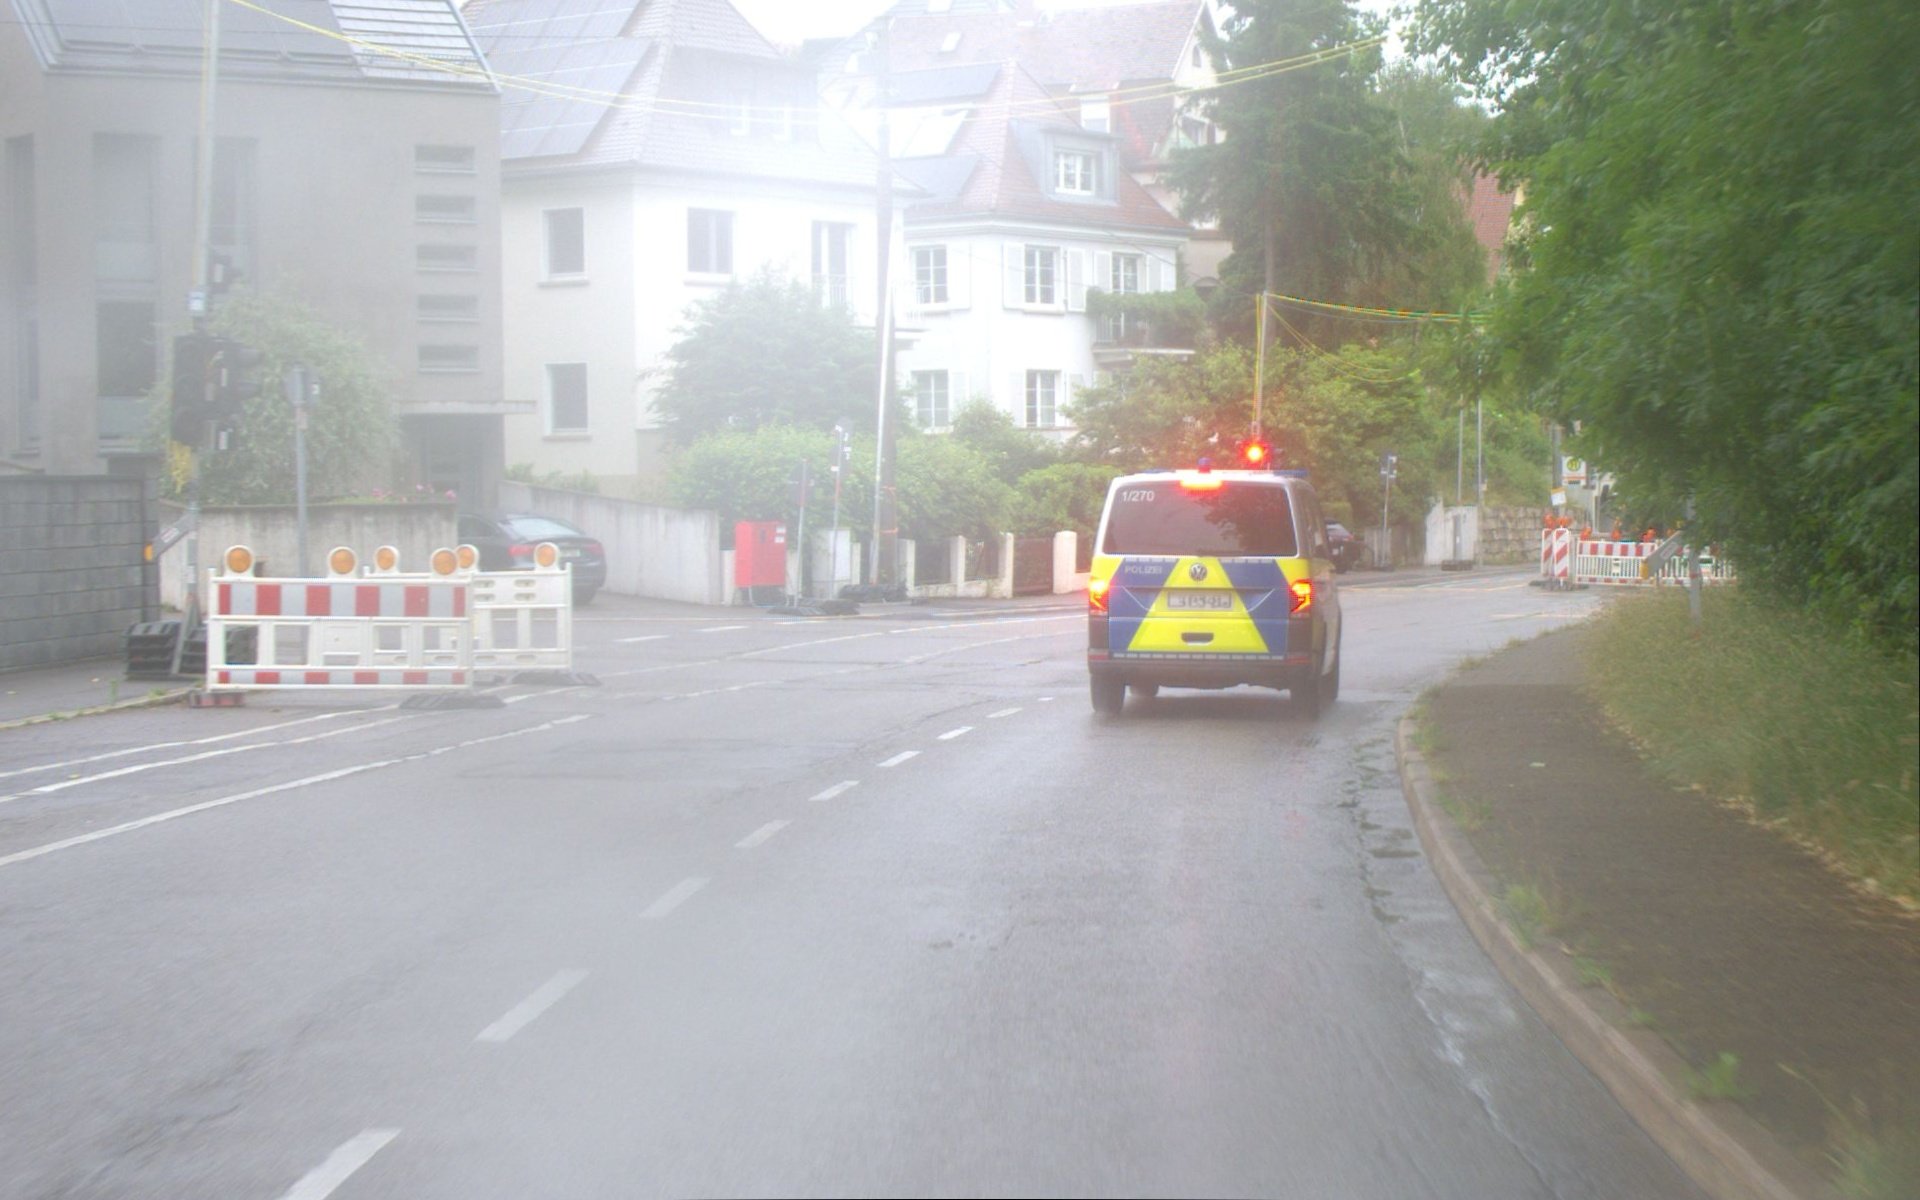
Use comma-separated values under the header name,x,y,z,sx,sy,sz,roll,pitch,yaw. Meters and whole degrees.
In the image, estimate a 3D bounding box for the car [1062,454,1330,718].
name,x,y,z,sx,sy,sz,roll,pitch,yaw
car,2.053,-0.164,28.726,1.994,2.007,4.401,1,1,7

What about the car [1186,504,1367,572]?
name,x,y,z,sx,sy,sz,roll,pitch,yaw
car,7.727,-1.512,84.026,3.993,1.481,1.757,3,0,28

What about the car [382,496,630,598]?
name,x,y,z,sx,sy,sz,roll,pitch,yaw
car,-6.876,-0.824,51.786,1.834,1.438,3.999,-1,3,-40
